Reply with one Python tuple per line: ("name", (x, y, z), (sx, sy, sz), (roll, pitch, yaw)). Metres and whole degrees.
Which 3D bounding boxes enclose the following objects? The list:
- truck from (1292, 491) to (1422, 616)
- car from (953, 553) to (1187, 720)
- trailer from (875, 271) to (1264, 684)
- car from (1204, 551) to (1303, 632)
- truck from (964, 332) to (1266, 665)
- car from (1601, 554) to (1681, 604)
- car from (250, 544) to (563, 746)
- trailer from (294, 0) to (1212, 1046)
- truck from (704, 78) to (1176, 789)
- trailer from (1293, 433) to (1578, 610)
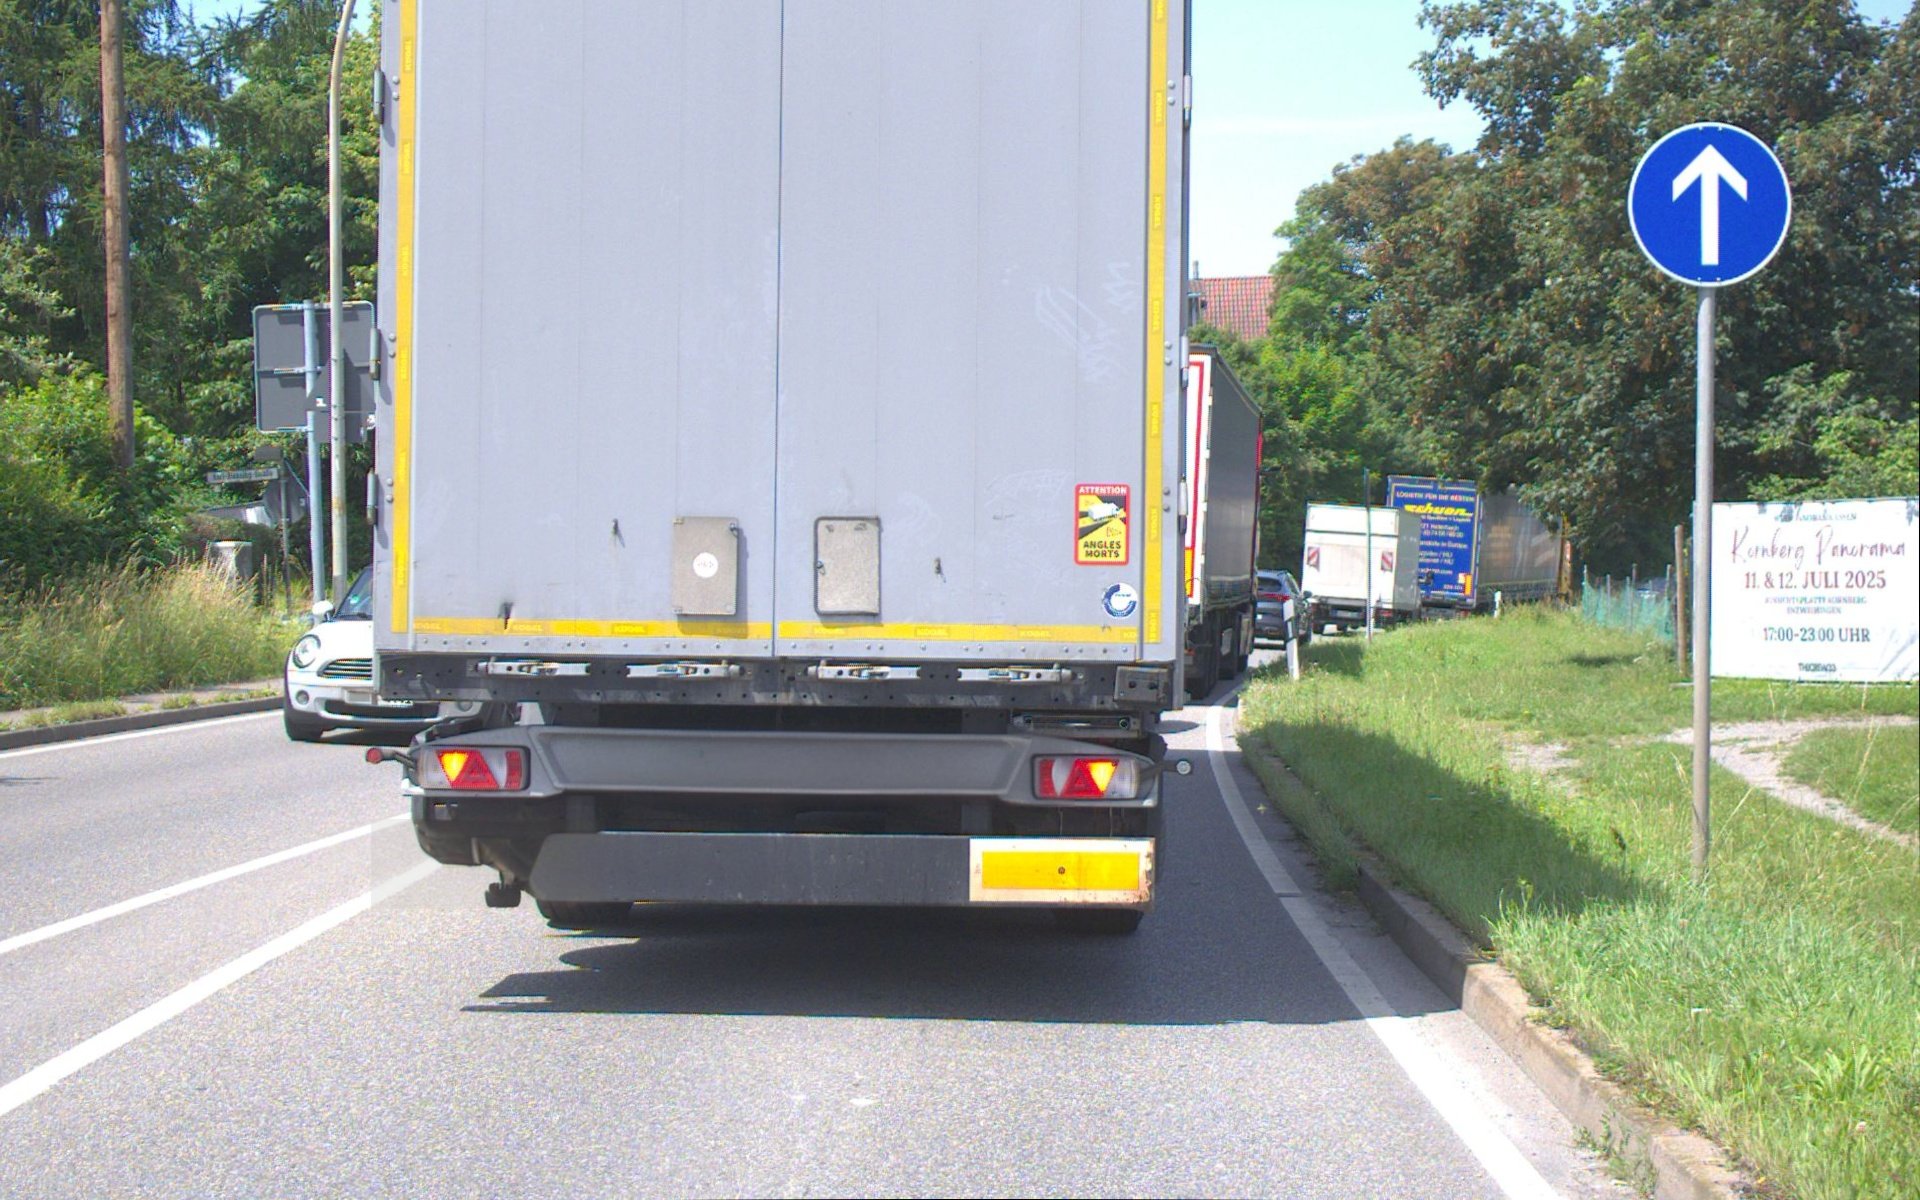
("truck", (9.398, -1.127, 80.944), (2.422, 2.828, 5.409), (1, 1, 13))
("car", (1.164, 0.315, 34.457), (1.994, 1.525, 3.999), (1, 1, 7))
("trailer", (1.747, -1.511, 44.061), (3.892, 4.505, 12.711), (1, 1, 7))
("car", (5.789, -0.195, 67.446), (1.841, 1.481, 3.999), (1, 1, 6))
("truck", (2.444, -1.451, 50.913), (3.938, 4.559, 7.150), (0, 1, 7))
("car", (24.050, -0.746, 121.355), (1.996, 1.678, 3.995), (1, 1, 23))
("car", (-4.253, 0.298, 26.877), (1.622, 1.377, 3.560), (3, 1, 4))
("trailer", (-0.326, -0.905, 16.513), (2.787, 4.191, 12.110), (1, 1, 3))
("truck", (0.037, -1.058, 23.281), (2.746, 4.151, 6.142), (1, 1, 3))
("trailer", (13.865, -2.259, 98.207), (5.184, 4.612, 15.881), (1, 1, 19))
